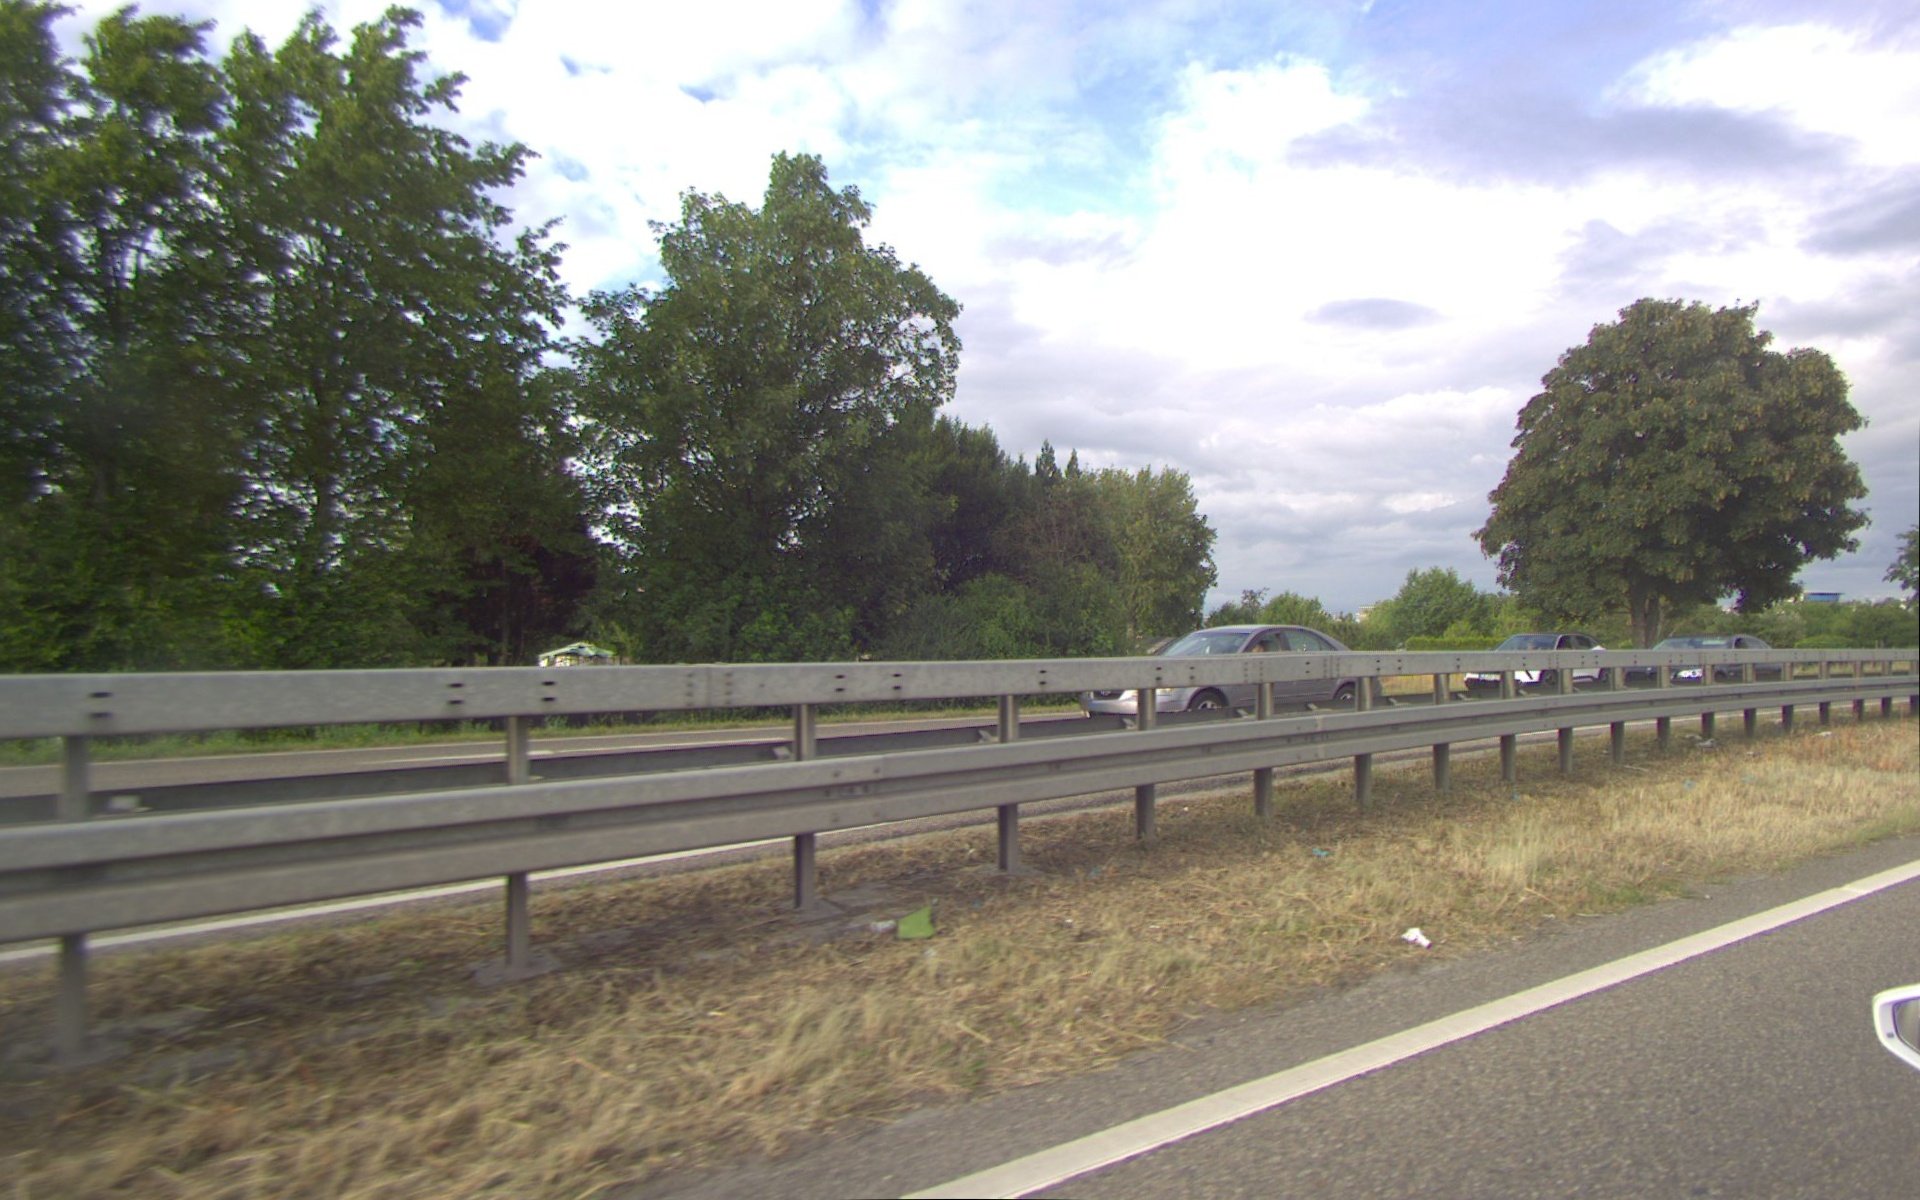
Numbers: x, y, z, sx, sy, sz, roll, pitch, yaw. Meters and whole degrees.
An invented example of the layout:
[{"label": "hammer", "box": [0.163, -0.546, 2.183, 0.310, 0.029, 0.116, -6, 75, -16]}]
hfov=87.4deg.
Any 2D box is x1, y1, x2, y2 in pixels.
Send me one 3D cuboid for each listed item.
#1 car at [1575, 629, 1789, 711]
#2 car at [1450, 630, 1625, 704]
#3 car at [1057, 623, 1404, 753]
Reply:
[{"label": "car", "box": [14.808, 1.351, 20.530, 4.881, 1.497, 1.857, 1, -2, -32]}, {"label": "car", "box": [13.515, 1.508, 23.476, 4.106, 1.584, 1.857, 1, -2, -32]}, {"label": "car", "box": [3.773, 1.090, 13.716, 4.772, 1.497, 1.857, 1, -2, -32]}]
